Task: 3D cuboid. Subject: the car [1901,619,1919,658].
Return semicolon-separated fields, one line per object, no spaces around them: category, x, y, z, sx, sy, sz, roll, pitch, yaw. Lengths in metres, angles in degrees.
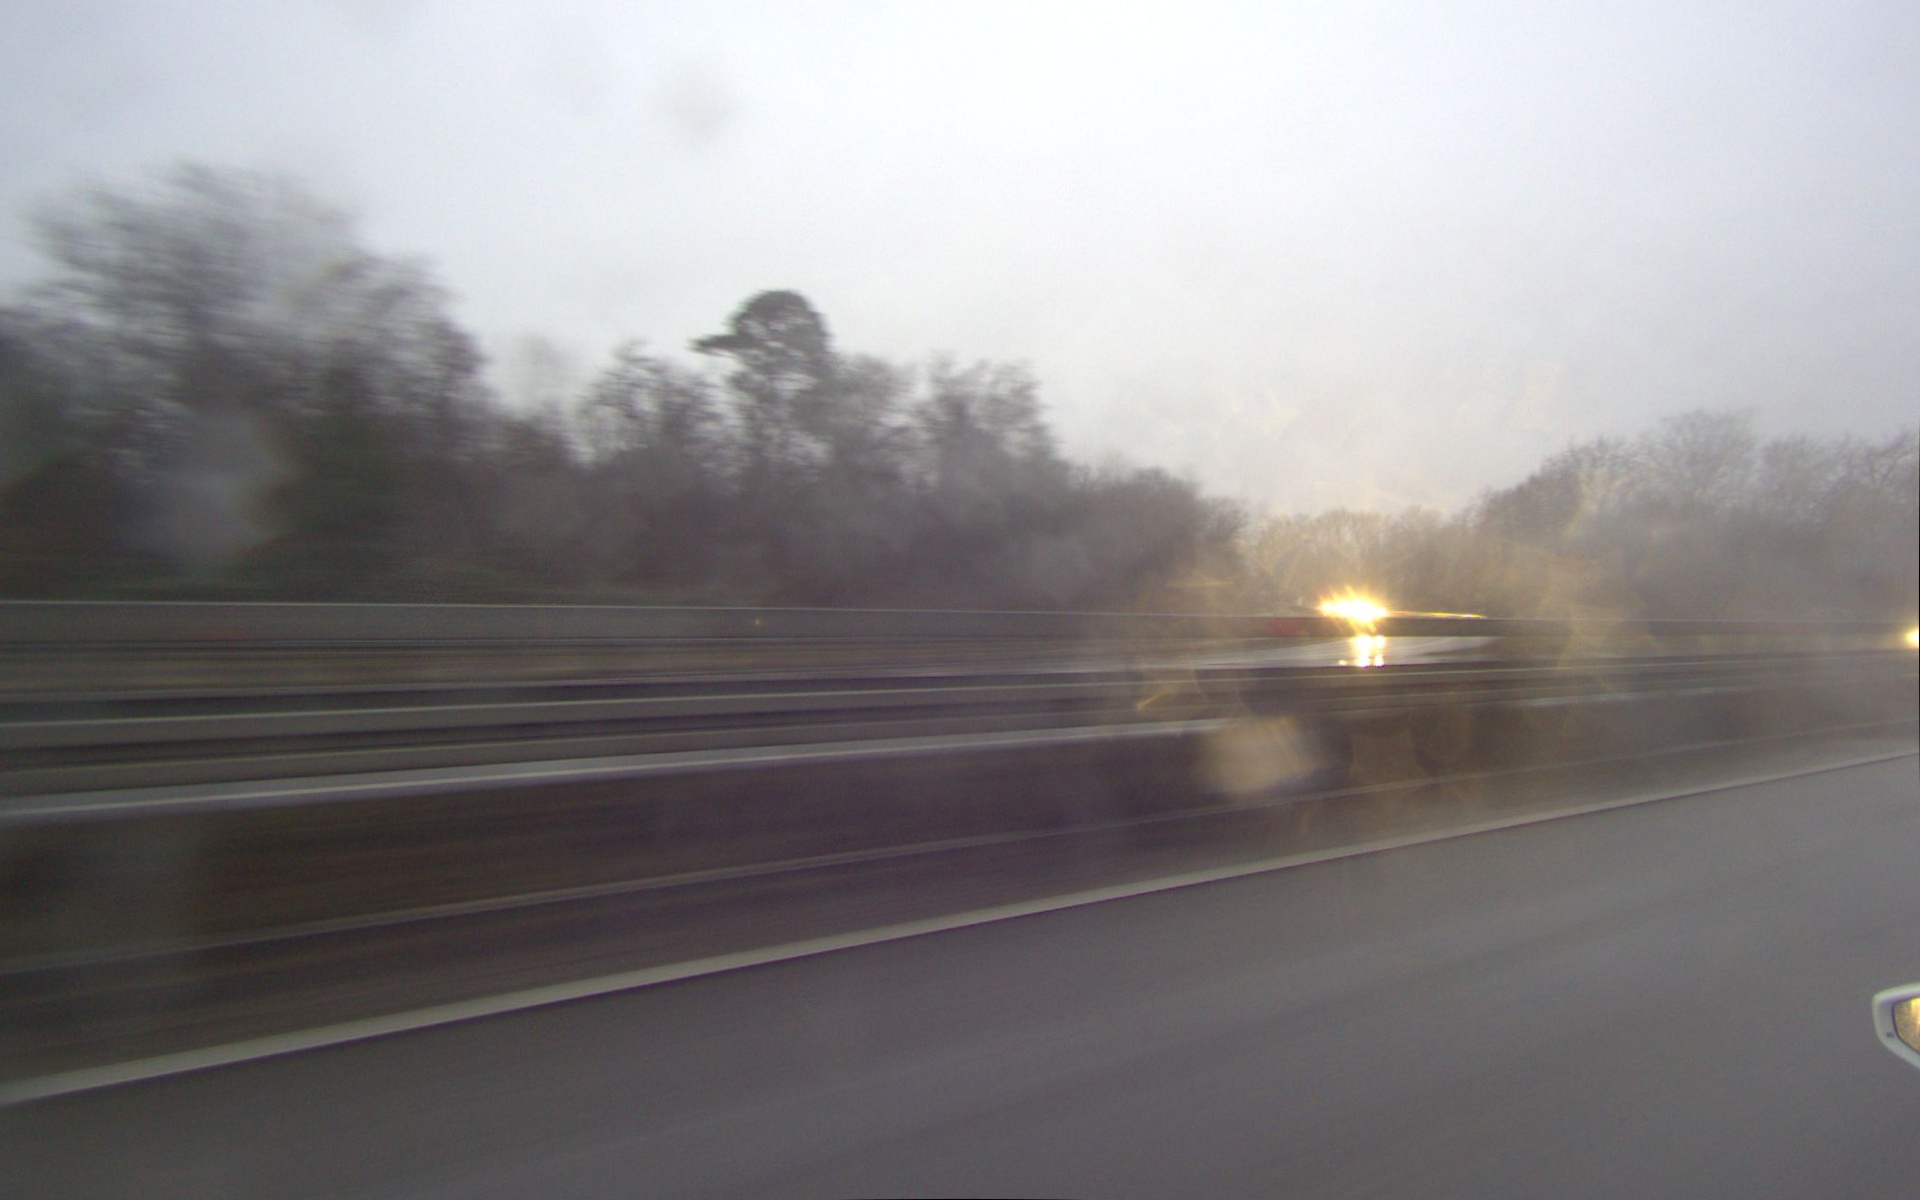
car;43.126;1.688;43.649;4.902;1.610;1.983;1;0;-31
